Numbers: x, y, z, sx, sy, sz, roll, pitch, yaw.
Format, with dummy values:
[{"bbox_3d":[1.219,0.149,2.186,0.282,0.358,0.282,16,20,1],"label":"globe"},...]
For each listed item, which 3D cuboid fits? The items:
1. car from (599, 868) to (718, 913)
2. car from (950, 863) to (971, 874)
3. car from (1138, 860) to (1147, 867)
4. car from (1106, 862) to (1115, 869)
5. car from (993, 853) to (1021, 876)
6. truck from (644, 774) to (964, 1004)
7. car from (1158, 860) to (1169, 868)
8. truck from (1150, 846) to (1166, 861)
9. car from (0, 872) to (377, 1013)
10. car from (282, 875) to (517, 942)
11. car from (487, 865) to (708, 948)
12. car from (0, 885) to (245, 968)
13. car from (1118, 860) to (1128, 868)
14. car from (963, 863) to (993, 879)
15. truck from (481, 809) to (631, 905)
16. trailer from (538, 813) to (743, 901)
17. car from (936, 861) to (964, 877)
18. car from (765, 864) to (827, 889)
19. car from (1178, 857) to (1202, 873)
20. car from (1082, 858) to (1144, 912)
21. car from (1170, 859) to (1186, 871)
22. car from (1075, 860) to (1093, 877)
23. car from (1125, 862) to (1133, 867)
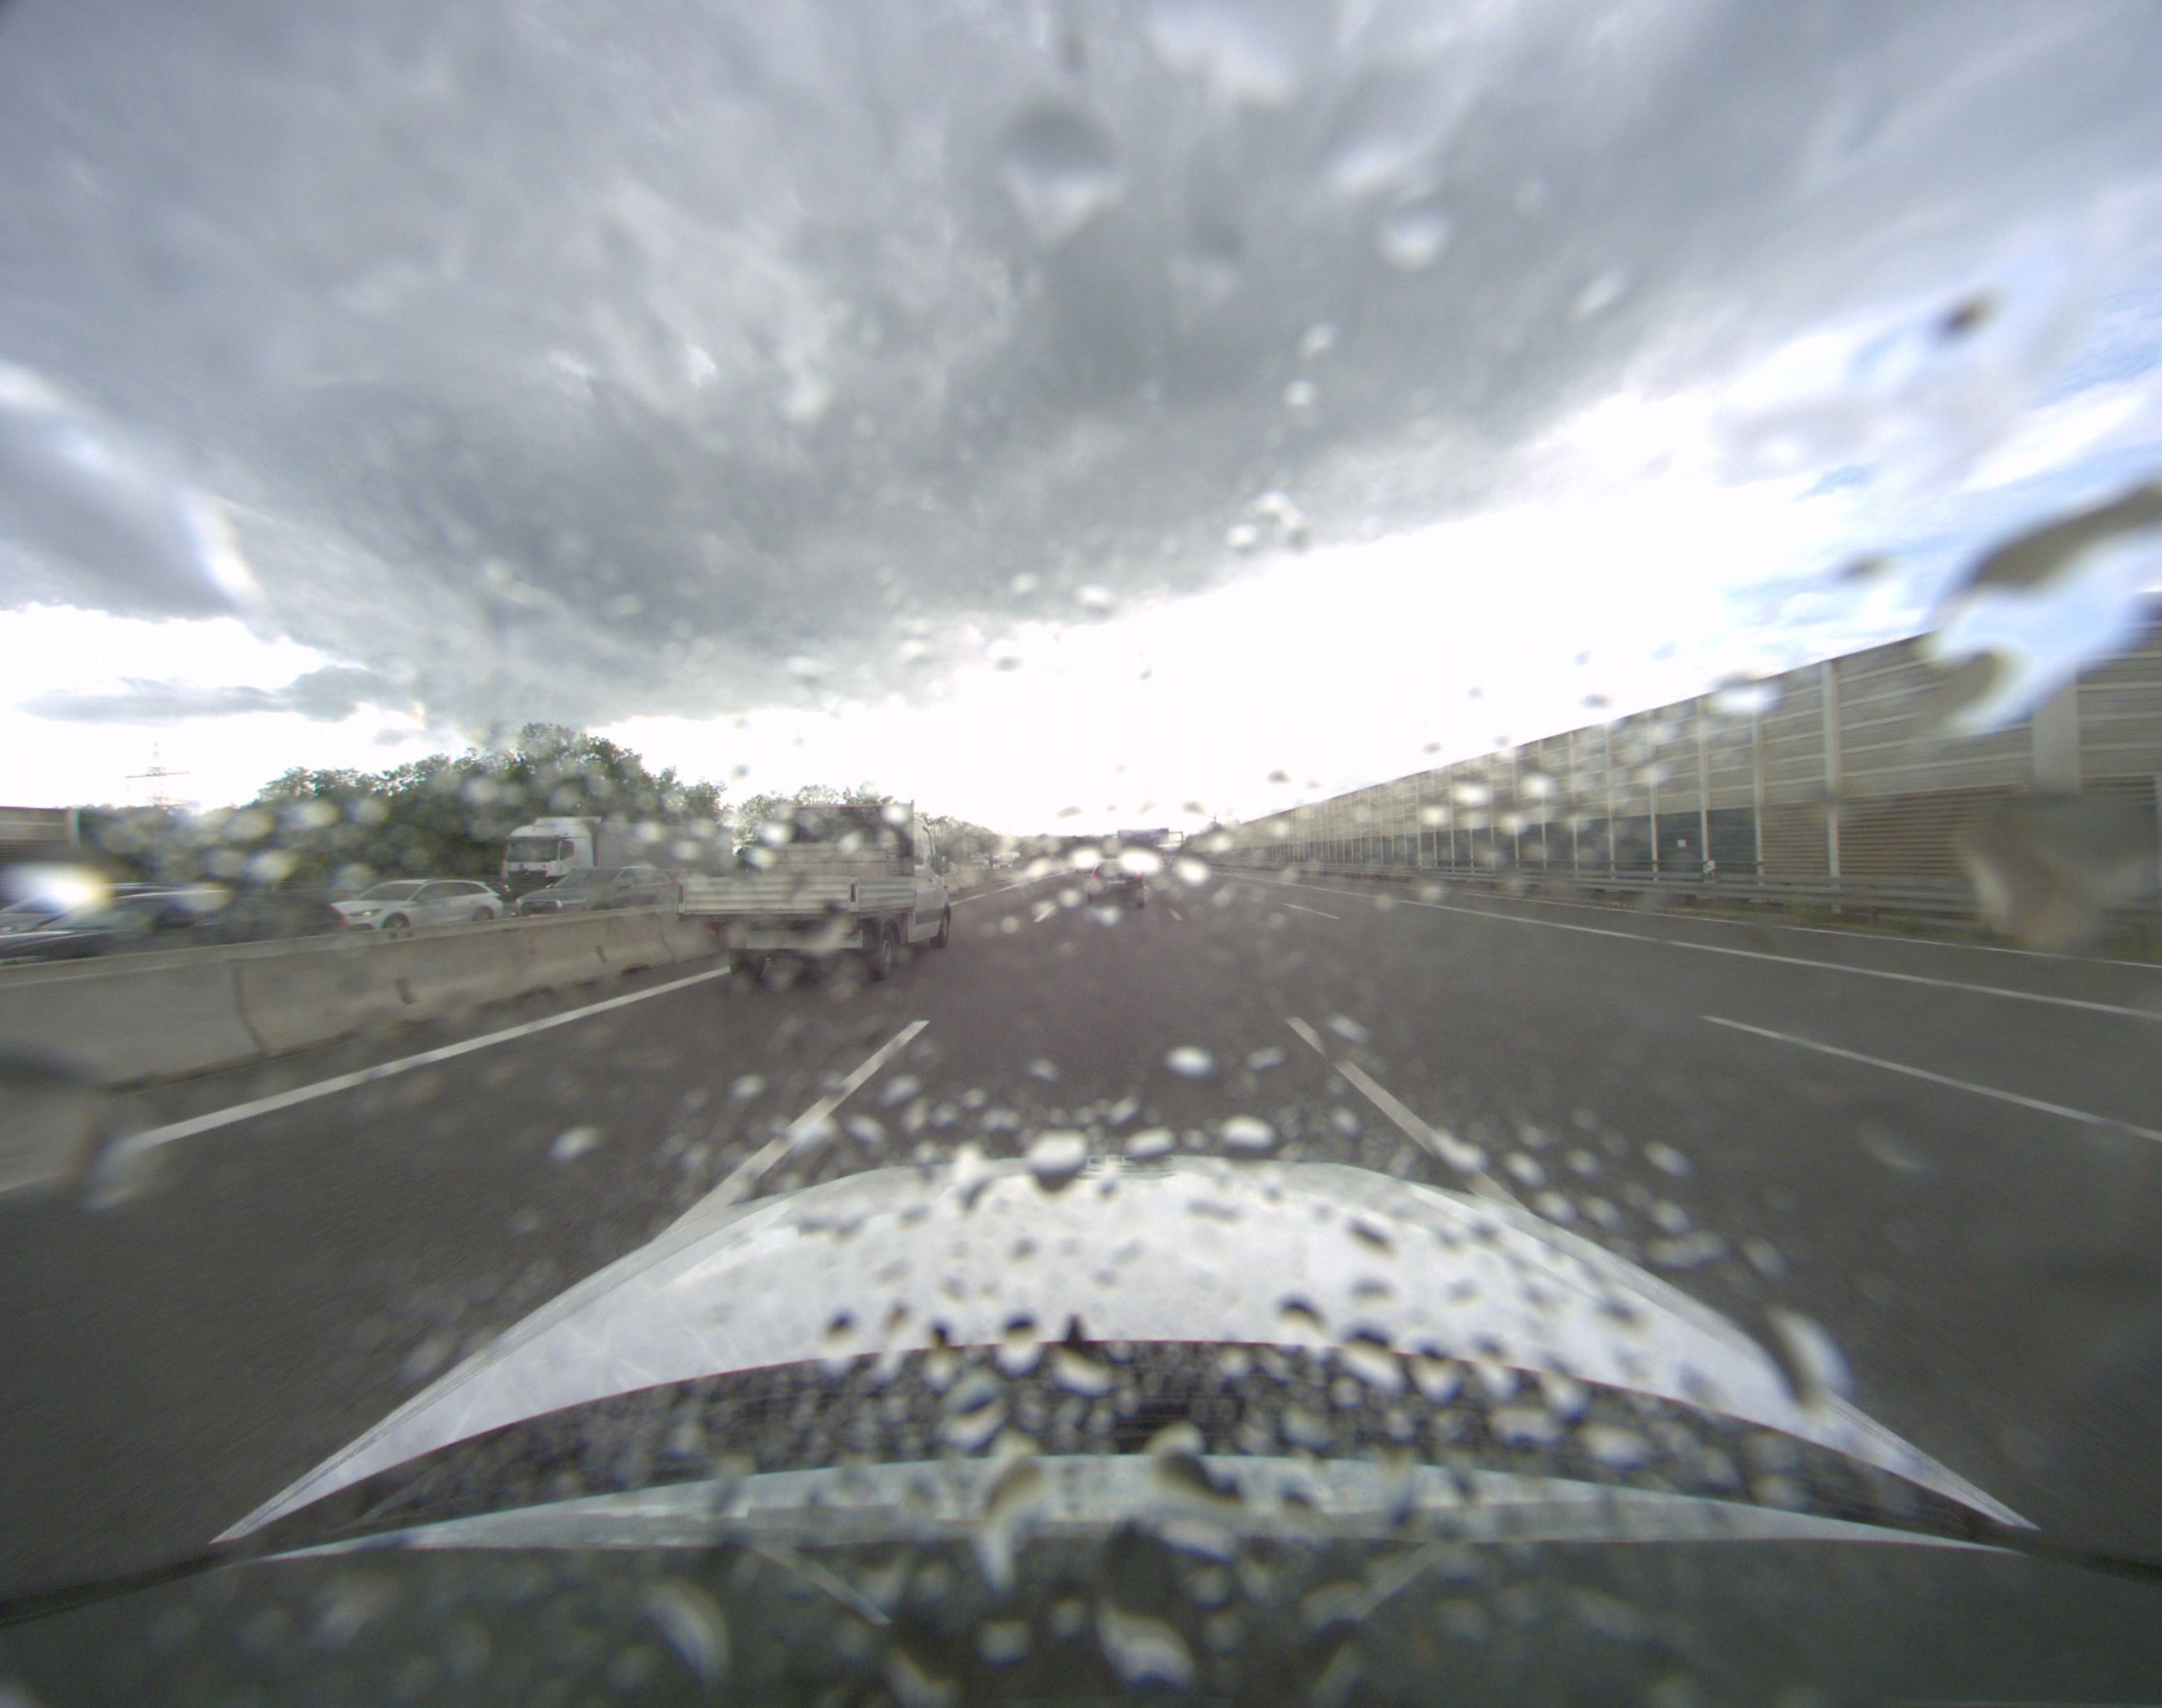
[{"bbox_3d":[-16.653,1.388,32.432,2.052,1.535,4.722,-1,-1,3],"label":"car"},{"bbox_3d":[-16.390,1.913,110.907,1.715,1.464,4.524,0,-1,5],"label":"car"},{"bbox_3d":[14.878,2.238,197.059,1.960,1.561,4.435,-2,-1,2],"label":"car"},{"bbox_3d":[6.914,2.596,191.432,1.960,1.561,4.436,-2,-1,3],"label":"car"},{"bbox_3d":[-9.553,1.292,106.025,2.221,2.749,9.173,-1,1,4],"label":"car"},{"bbox_3d":[-3.497,0.363,12.349,2.299,2.439,7.148,-1,0,1],"label":"truck"},{"bbox_3d":[15.349,1.858,151.491,1.875,1.561,4.436,-2,-1,3],"label":"car"},{"bbox_3d":[18.538,-0.179,197.226,3.140,3.601,12.708,0,0,3],"label":"truck"},{"bbox_3d":[-13.290,1.088,11.566,2.052,1.534,5.000,-1,-1,3],"label":"car"},{"bbox_3d":[-17.161,1.307,20.885,2.052,1.416,4.526,-1,-1,3],"label":"car"},{"bbox_3d":[-12.922,1.300,22.492,2.052,1.880,6.332,-1,-1,3],"label":"car"},{"bbox_3d":[-20.898,1.442,17.027,2.052,1.416,4.526,-1,-1,3],"label":"car"},{"bbox_3d":[8.294,1.943,161.607,1.960,1.561,4.436,-2,-1,3],"label":"car"},{"bbox_3d":[-10.421,1.686,82.614,2.052,1.535,5.473,-1,-1,3],"label":"car"},{"bbox_3d":[-23.928,0.141,37.539,2.960,4.035,5.729,-1,0,2],"label":"truck"},{"bbox_3d":[-23.580,0.139,45.250,2.920,4.032,14.462,-1,0,3],"label":"trailer"},{"bbox_3d":[-13.988,1.582,87.325,2.052,1.535,4.522,-1,-1,3],"label":"car"},{"bbox_3d":[-19.418,1.491,55.759,2.052,1.535,5.473,-1,-1,3],"label":"car"},{"bbox_3d":[10.344,1.039,77.472,1.941,1.418,4.236,-2,-1,3],"label":"car"},{"bbox_3d":[0.963,0.888,25.132,1.711,1.417,4.280,-1,0,2],"label":"car"},{"bbox_3d":[13.442,1.570,113.549,1.875,1.542,4.436,-2,-1,3],"label":"car"},{"bbox_3d":[0.311,1.443,83.809,1.711,1.624,4.280,-1,0,2],"label":"car"},{"bbox_3d":[13.219,2.911,224.920,1.961,1.561,4.434,-2,-1,1],"label":"car"}]
